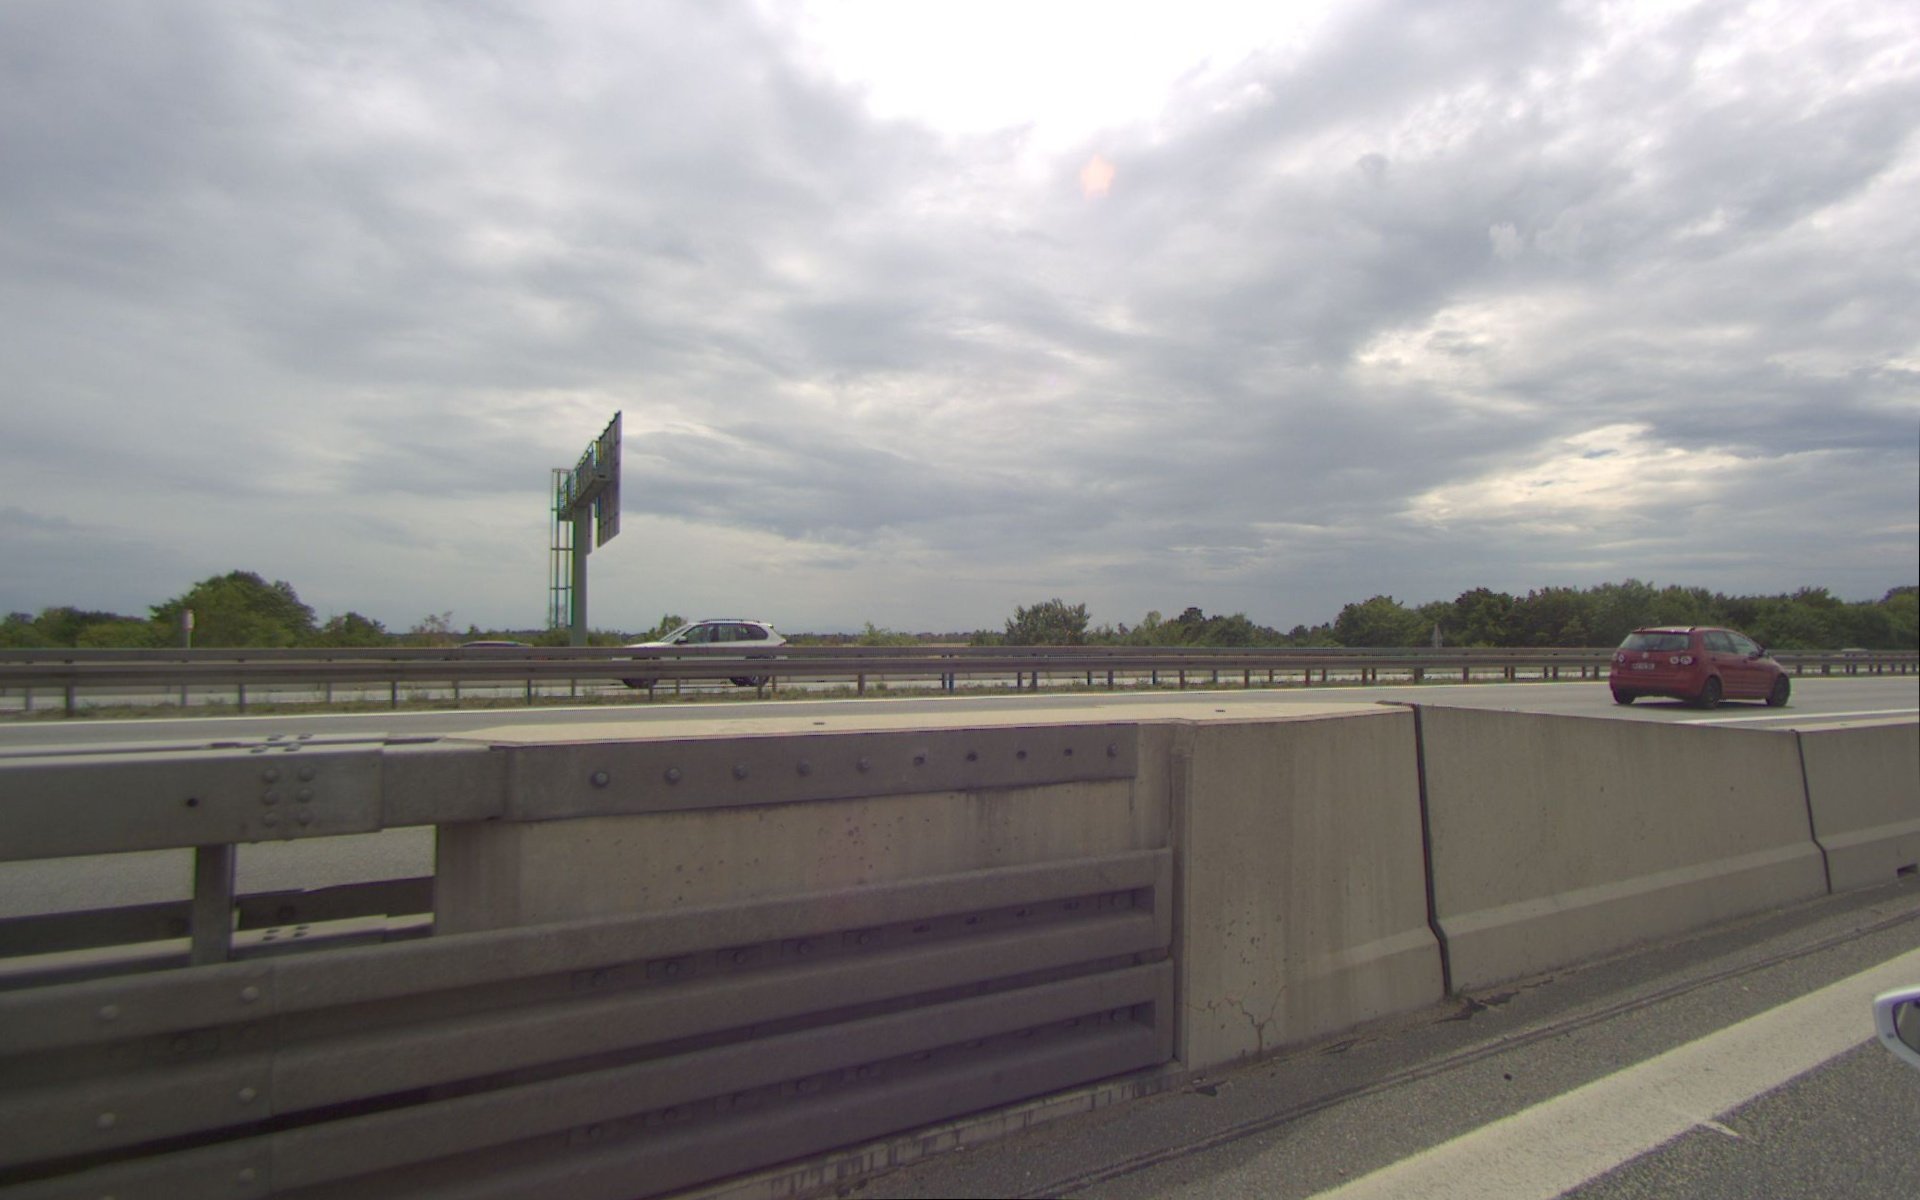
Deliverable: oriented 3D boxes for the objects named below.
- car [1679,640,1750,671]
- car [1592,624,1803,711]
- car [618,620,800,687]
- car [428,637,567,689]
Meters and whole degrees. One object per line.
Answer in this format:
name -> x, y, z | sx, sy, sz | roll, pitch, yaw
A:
car -> 45.356, 3.323, 60.409 | 3.947, 1.728, 1.824 | 1, -1, -26
car -> 15.090, 1.292, 20.523 | 4.300, 1.566, 1.812 | 0, 0, -28
car -> -6.684, 1.363, 26.827 | 4.458, 1.644, 1.738 | 0, 0, -27
car -> -15.555, 2.101, 33.945 | 4.126, 1.595, 1.907 | 1, 0, -24
